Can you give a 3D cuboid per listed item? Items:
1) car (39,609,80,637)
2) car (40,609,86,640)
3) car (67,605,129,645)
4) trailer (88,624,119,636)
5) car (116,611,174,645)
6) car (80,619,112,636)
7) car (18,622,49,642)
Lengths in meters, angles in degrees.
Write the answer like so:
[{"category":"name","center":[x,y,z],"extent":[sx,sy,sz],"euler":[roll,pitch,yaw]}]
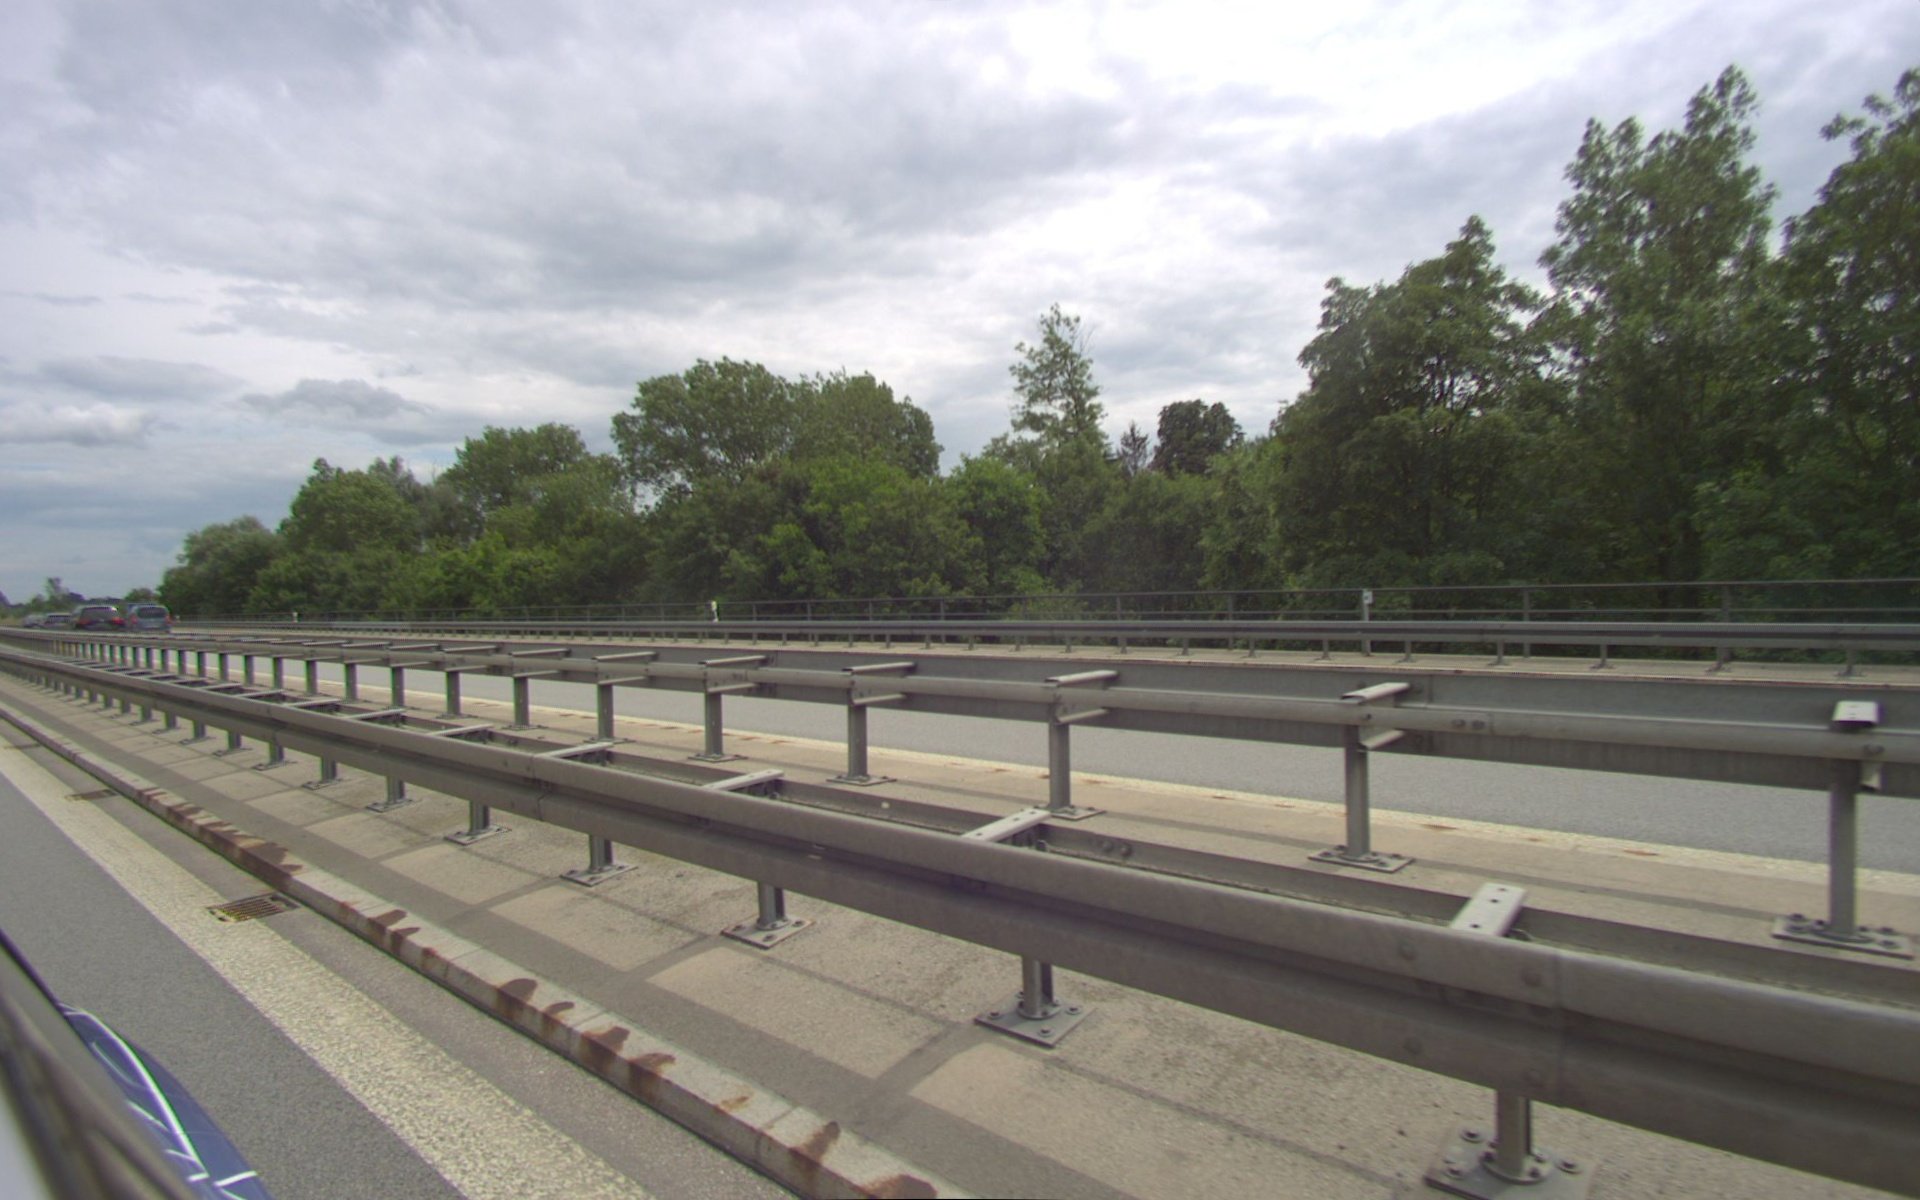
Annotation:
[{"category":"car","center":[-53.010,1.347,59.559],"extent":[1.625,1.561,4.002],"euler":[0,-1,-45]},{"category":"car","center":[-48.254,1.303,54.440],"extent":[1.625,1.561,4.002],"euler":[0,-1,-45]},{"category":"car","center":[-37.034,1.075,43.444],"extent":[4.001,1.618,1.625],"euler":[-1,-2,44]},{"category":"trailer","center":[-74.107,2.589,87.518],"extent":[4.001,0.959,1.650],"euler":[-1,0,44]},{"category":"car","center":[-45.936,1.573,57.042],"extent":[4.225,1.758,1.972],"euler":[-1,0,43]},{"category":"car","center":[-77.381,2.445,90.604],"extent":[4.943,1.420,1.718],"euler":[-1,-1,44]},{"category":"car","center":[-73.163,2.517,79.883],"extent":[1.672,1.447,4.113],"euler":[-2,0,-44]}]
